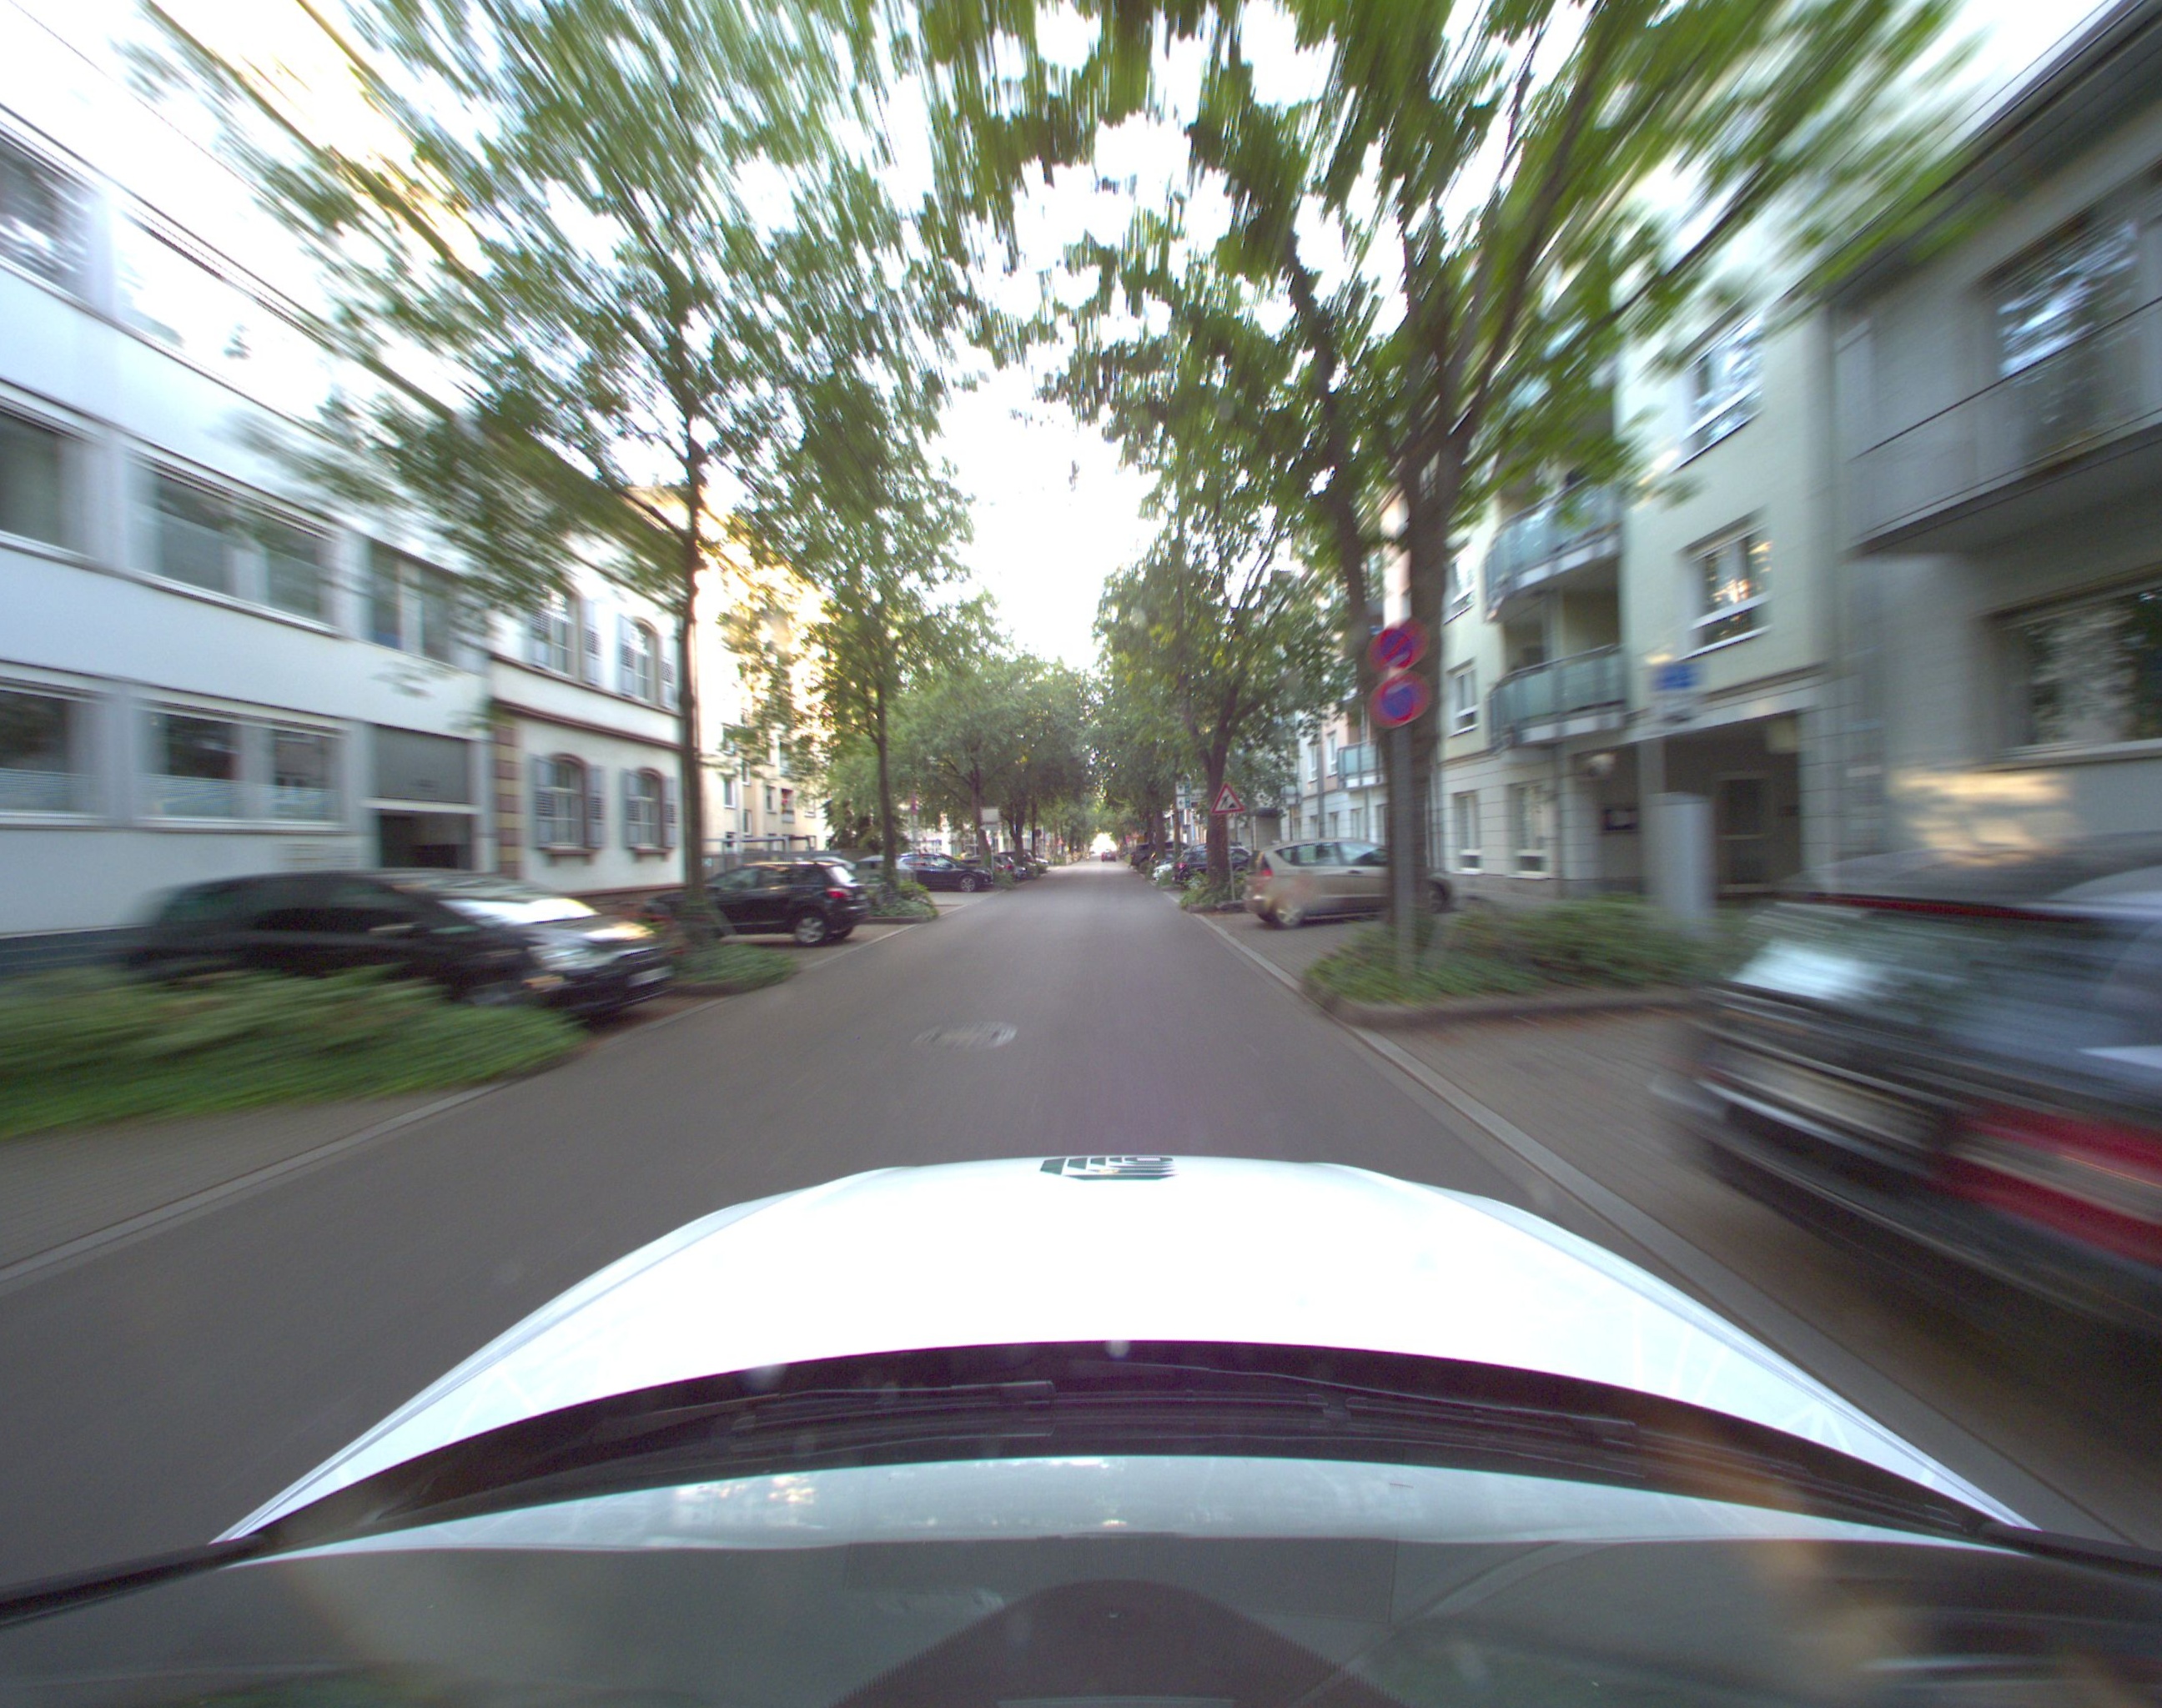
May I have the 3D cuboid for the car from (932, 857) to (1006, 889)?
[{"bbox_3d":[-5.501,0.927,40.165,3.394,1.442,1.594,-2,0,-1],"label":"car"}]

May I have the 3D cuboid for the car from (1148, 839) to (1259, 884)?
[{"bbox_3d":[5.339,0.338,35.857,4.557,1.552,1.773,-5,0,0],"label":"car"}]

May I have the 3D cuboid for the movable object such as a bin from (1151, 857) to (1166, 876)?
[{"bbox_3d":[4.391,0.695,46.303,0.772,1.068,0.589,-2,0,0],"label":"movable object such as a bin"}]

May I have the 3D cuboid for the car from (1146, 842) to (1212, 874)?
[{"bbox_3d":[5.910,0.269,49.244,3.654,1.548,1.780,-6,-1,-1],"label":"car"}]

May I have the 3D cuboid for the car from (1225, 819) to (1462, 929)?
[{"bbox_3d":[4.884,0.357,15.612,3.848,1.667,1.926,-5,0,1],"label":"car"}]

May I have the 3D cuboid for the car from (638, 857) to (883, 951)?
[{"bbox_3d":[-6.100,0.915,15.849,3.975,1.588,1.827,-2,0,-1],"label":"car"}]

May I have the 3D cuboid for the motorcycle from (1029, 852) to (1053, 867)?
[{"bbox_3d":[-4.108,0.592,83.570,2.391,1.440,0.792,-2,0,-38],"label":"motorcycle"}]

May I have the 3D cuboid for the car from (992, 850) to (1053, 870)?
[{"bbox_3d":[-4.539,0.472,63.777,4.481,1.581,2.056,0,0,2],"label":"car"}]

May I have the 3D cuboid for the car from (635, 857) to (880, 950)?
[{"bbox_3d":[-6.157,0.908,15.831,3.973,1.591,1.789,-1,0,1],"label":"car"}]

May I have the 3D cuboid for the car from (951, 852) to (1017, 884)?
[{"bbox_3d":[-5.332,0.750,45.271,3.394,1.609,1.760,-2,0,-1],"label":"car"}]

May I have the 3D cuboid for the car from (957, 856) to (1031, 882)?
[{"bbox_3d":[-5.048,0.857,47.425,4.087,1.379,1.746,-1,0,-1],"label":"car"}]

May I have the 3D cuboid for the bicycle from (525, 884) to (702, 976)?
[{"bbox_3d":[-5.856,0.940,10.245,1.895,1.025,0.479,-3,0,0],"label":"bicycle"}]

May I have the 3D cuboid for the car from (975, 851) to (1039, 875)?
[{"bbox_3d":[-5.314,0.613,58.718,4.382,1.684,2.063,0,0,-1],"label":"car"}]

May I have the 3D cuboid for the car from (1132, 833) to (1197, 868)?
[{"bbox_3d":[6.285,-0.267,61.487,4.603,2.133,2.037,-6,0,1],"label":"car"}]

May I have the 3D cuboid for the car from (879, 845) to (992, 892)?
[{"bbox_3d":[-6.214,0.611,35.178,4.402,1.892,2.000,-1,0,1],"label":"car"}]

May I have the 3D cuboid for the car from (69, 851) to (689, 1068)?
[{"bbox_3d":[-6.569,0.919,8.023,4.524,1.682,1.620,-3,0,-2],"label":"car"}]

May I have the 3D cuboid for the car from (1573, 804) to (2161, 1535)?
[{"bbox_3d":[4.216,0.550,2.407,4.335,1.470,1.734,-5,0,6],"label":"car"}]

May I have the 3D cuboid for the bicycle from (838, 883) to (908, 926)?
[{"bbox_3d":[-5.084,1.224,19.908,1.562,0.937,0.481,-3,0,-22],"label":"bicycle"}]

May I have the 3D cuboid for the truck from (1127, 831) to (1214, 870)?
[{"bbox_3d":[6.416,-0.230,58.935,5.983,2.133,2.262,-6,0,1],"label":"truck"}]

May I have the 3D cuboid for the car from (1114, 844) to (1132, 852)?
[{"bbox_3d":[9.676,-1.431,189.517,3.976,1.597,1.999,-2,0,-2],"label":"car"}]

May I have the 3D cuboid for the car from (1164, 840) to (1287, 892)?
[{"bbox_3d":[5.185,0.418,29.593,3.978,1.474,1.912,-5,0,-3],"label":"car"}]

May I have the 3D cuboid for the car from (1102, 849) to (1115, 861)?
[{"bbox_3d":[3.579,0.126,106.010,1.495,1.416,3.715,-3,0,2],"label":"car"}]

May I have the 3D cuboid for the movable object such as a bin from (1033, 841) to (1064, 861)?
[{"bbox_3d":[-4.062,-0.349,101.664,3.654,2.332,2.583,-2,0,0],"label":"movable object such as a bin"}]

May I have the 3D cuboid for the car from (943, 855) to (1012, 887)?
[{"bbox_3d":[-5.408,0.881,42.814,3.394,1.506,1.664,-2,0,-1],"label":"car"}]

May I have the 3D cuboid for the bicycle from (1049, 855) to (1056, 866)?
[{"bbox_3d":[-3.018,0.641,86.722,0.599,1.118,1.800,-3,0,2],"label":"bicycle"}]

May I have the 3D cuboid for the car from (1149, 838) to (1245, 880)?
[{"bbox_3d":[5.770,0.253,40.793,4.379,1.703,1.891,-5,0,-7],"label":"car"}]
